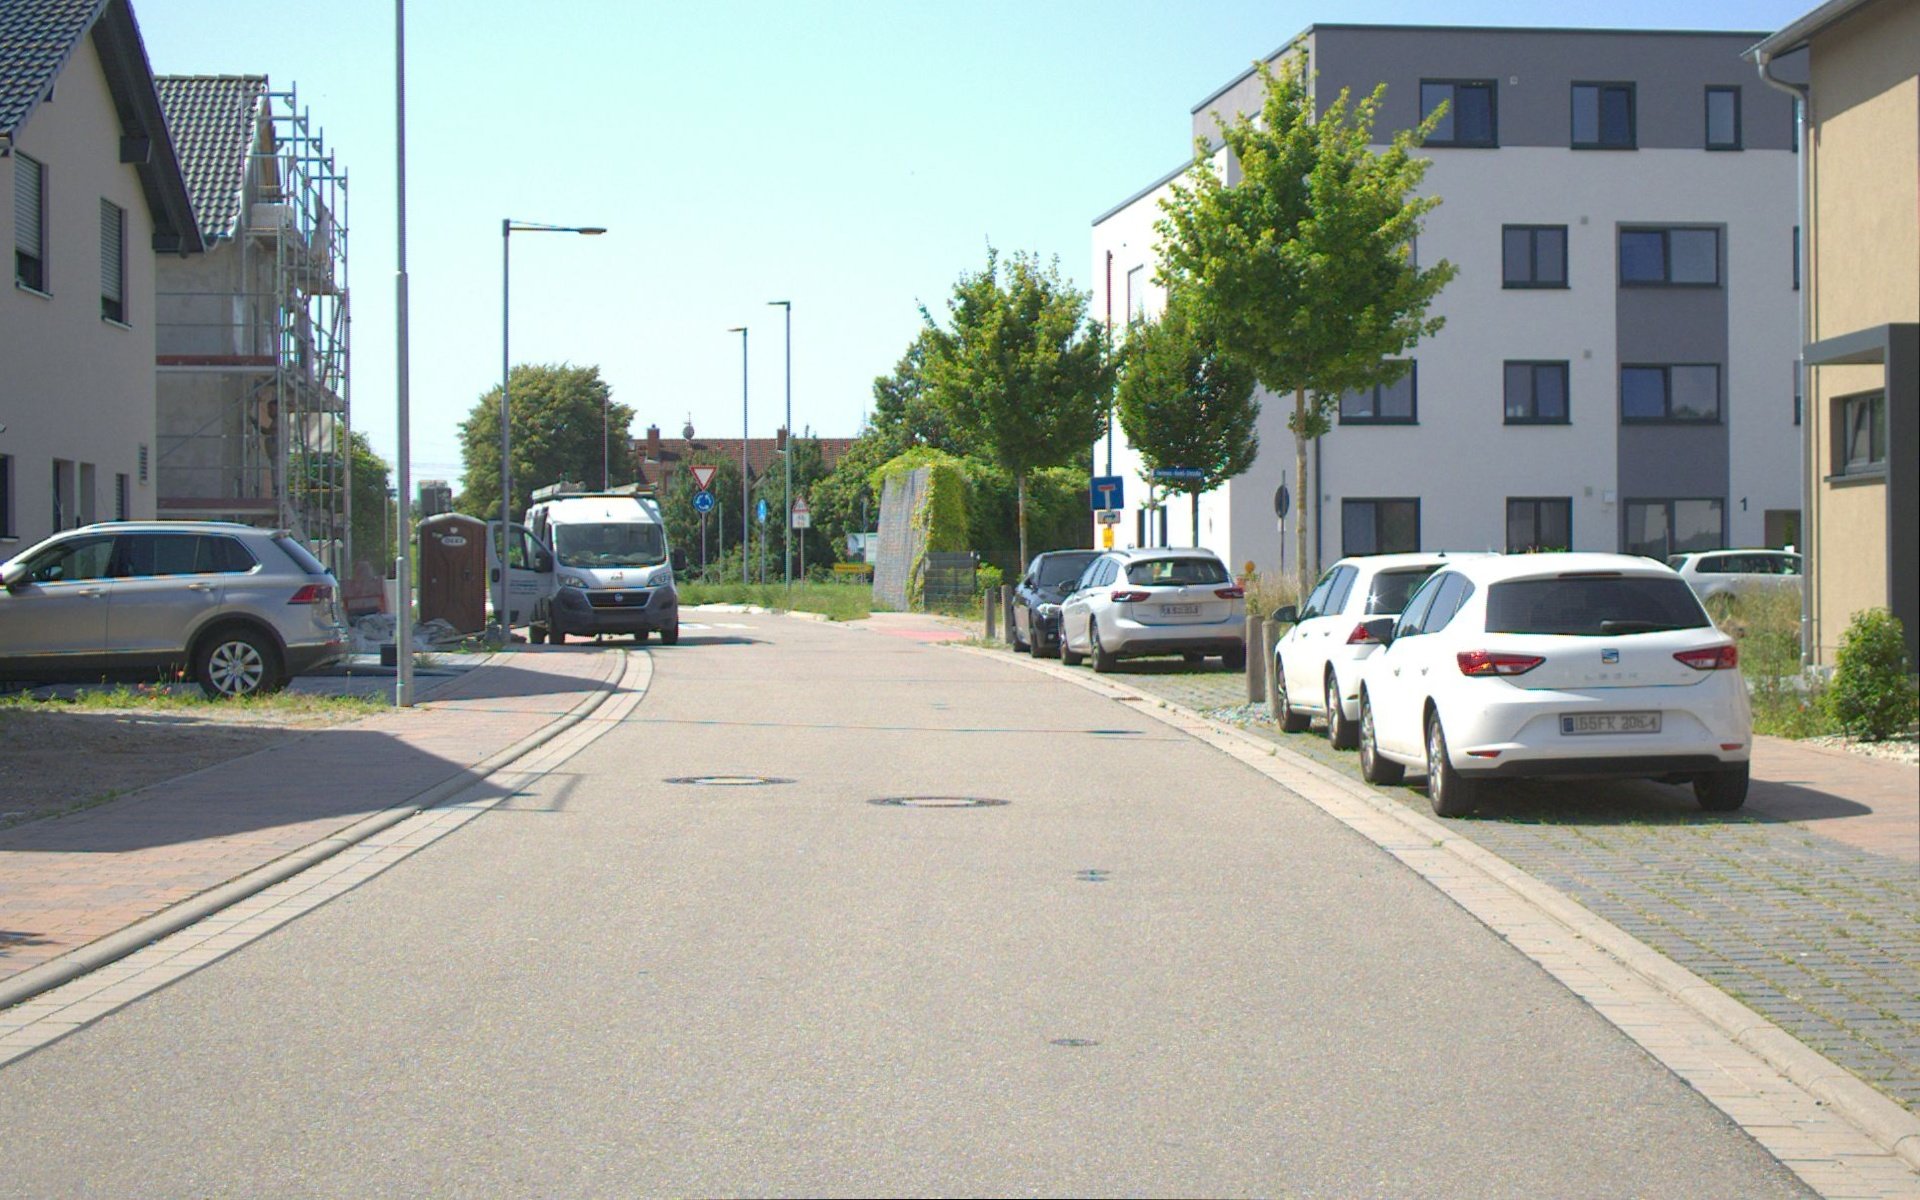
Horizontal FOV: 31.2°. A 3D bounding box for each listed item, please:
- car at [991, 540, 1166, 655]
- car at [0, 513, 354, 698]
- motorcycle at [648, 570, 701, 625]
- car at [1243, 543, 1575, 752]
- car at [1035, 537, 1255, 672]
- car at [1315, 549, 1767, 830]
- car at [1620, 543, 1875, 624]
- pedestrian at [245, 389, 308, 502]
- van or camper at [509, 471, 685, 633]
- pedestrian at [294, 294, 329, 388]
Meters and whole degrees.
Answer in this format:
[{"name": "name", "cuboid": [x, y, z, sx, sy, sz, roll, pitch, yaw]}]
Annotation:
[{"name": "car", "cuboid": [1.627, -0.076, 49.060, 1.918, 1.464, 5.141, -2, 1, -4]}, {"name": "car", "cuboid": [-7.876, 0.041, 31.482, 4.424, 1.606, 2.000, -1, 1, -5]}, {"name": "motorcycle", "cuboid": [-6.034, -0.065, 72.624, 0.955, 1.031, 2.437, 0, 3, -8]}, {"name": "car", "cuboid": [3.430, 0.304, 27.067, 1.779, 1.421, 4.515, -2, 1, -3]}, {"name": "car", "cuboid": [2.235, 0.006, 43.019, 1.918, 1.506, 5.296, -2, 1, -6]}, {"name": "car", "cuboid": [3.347, 0.448, 20.688, 1.814, 1.451, 4.565, -2, 1, -1]}, {"name": "car", "cuboid": [14.467, -0.300, 63.258, 4.157, 1.431, 1.883, 0, 0, -7]}, {"name": "pedestrian", "cuboid": [-10.465, -2.355, 52.647, 0.578, 1.674, 0.746, -2, -2, 42]}, {"name": "van or camper", "cuboid": [-6.143, -0.763, 57.502, 2.272, 2.544, 6.369, 0, 0, -12]}, {"name": "pedestrian", "cuboid": [-10.863, -4.327, 57.551, 0.561, 1.494, 0.748, -1, -1, -11]}]
